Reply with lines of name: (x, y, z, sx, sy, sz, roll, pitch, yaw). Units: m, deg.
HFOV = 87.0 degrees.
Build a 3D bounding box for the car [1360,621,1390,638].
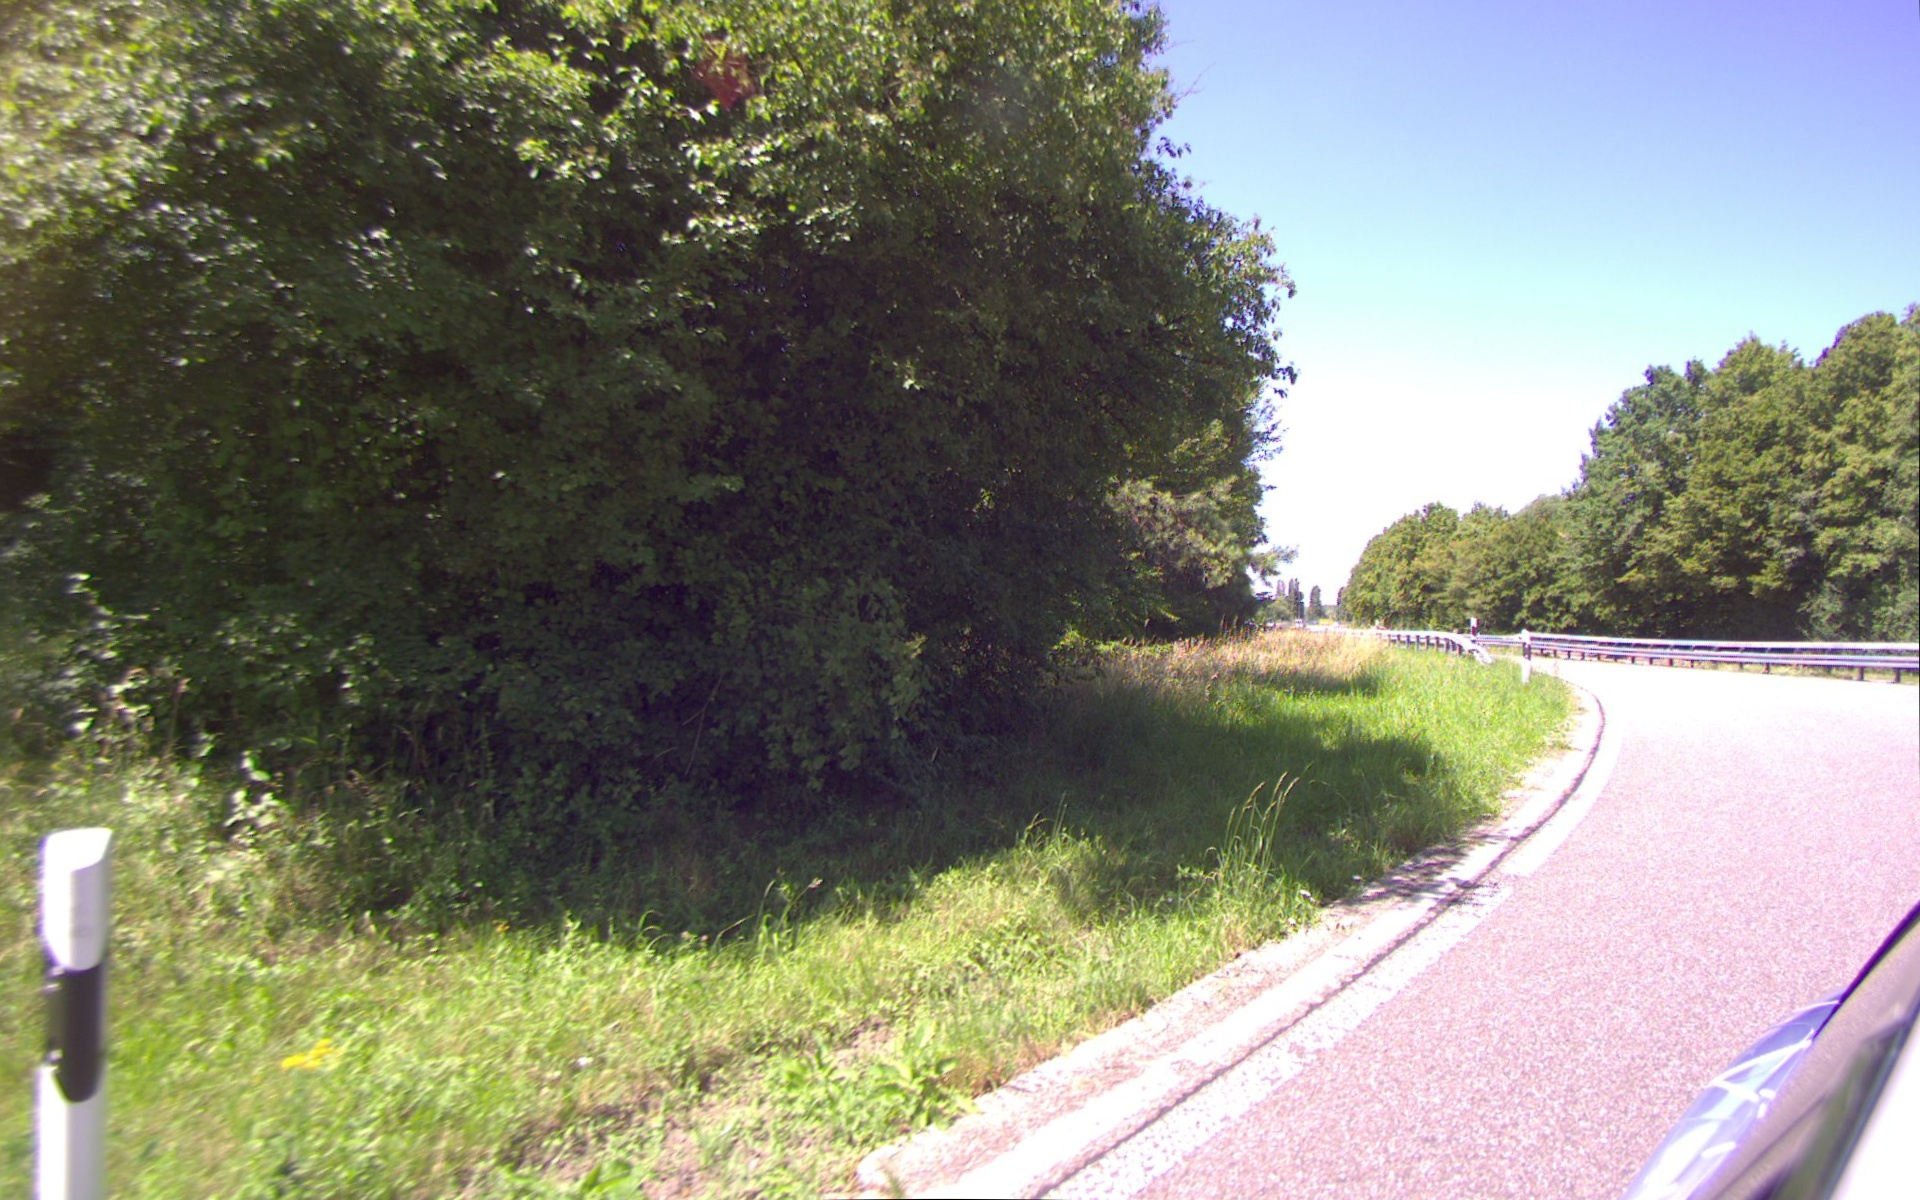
car: (43.405, 3.069, 105.933, 1.732, 1.593, 4.403, 3, -1, 8)
